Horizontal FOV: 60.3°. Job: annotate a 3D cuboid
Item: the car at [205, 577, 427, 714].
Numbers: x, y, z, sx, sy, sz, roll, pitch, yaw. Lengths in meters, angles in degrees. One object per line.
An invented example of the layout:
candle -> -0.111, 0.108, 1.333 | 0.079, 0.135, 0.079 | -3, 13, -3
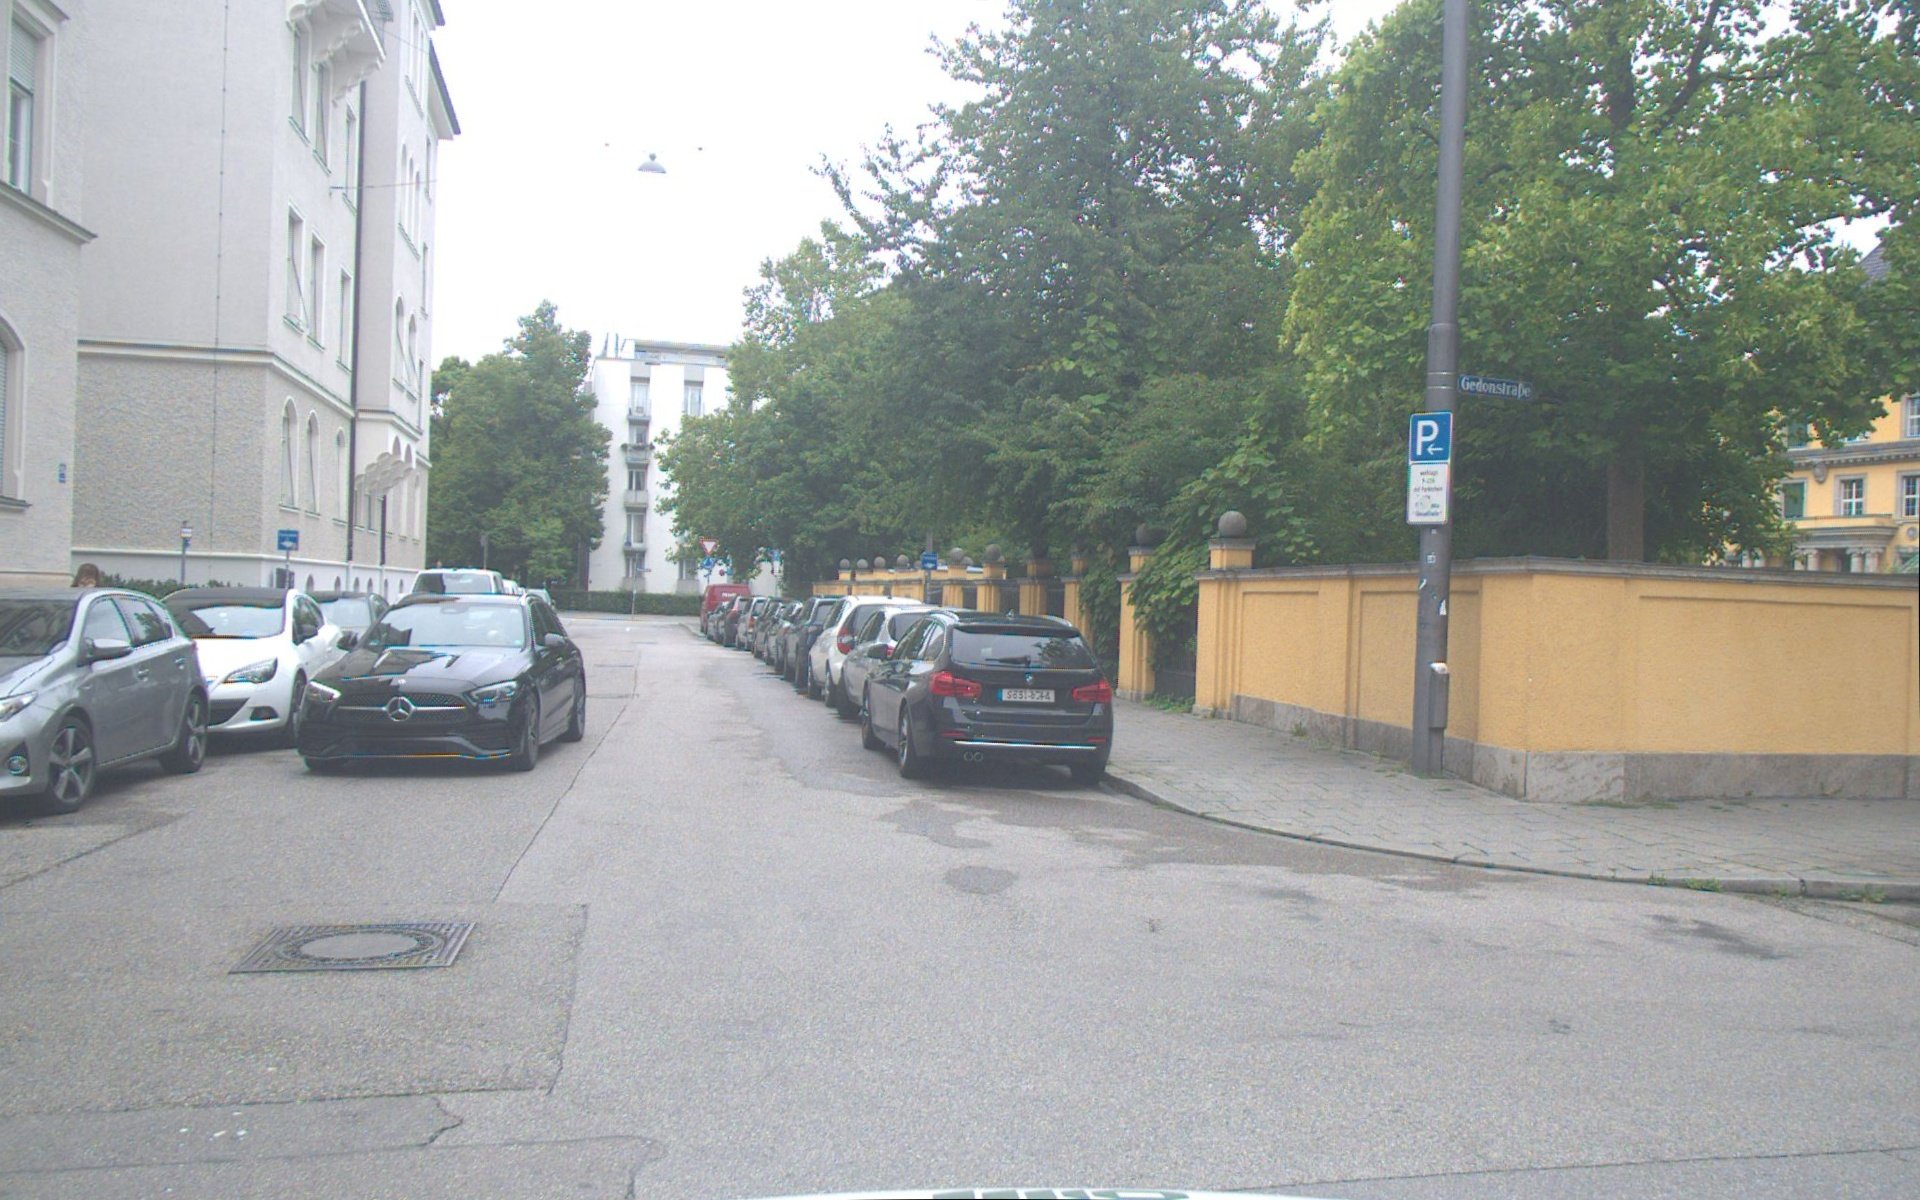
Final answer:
car -> -8.086, 0.490, 21.147 | 1.803, 1.526, 4.264 | -1, 1, -10

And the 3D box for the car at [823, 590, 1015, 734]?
car -> -0.600, 0.699, 20.355 | 1.624, 1.545, 3.783 | 3, -1, -12

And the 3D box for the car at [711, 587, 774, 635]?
car -> -7.666, 0.377, 57.926 | 1.806, 1.545, 3.935 | 3, -1, -12

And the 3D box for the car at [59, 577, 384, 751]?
car -> -7.116, 0.518, 16.434 | 1.802, 1.463, 4.267 | -1, 1, -8

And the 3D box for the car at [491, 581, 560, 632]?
car -> -15.130, 0.185, 57.753 | 1.979, 1.662, 4.402 | -1, 1, -11

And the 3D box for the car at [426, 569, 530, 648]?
car -> -11.756, 0.168, 40.583 | 1.979, 1.802, 4.402 | -1, 1, -11

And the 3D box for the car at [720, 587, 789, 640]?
car -> -6.636, 0.424, 53.179 | 1.806, 1.545, 3.935 | 3, -1, -12

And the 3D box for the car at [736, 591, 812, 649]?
car -> -5.578, 0.574, 49.173 | 1.806, 1.545, 3.935 | 3, -1, -12

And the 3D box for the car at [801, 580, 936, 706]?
car -> -1.445, 0.607, 24.999 | 1.487, 1.690, 3.664 | 3, -1, -11

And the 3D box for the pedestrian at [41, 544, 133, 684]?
pedestrian -> -11.009, 0.176, 20.872 | 0.777, 1.708, 0.699 | 2, 0, -9

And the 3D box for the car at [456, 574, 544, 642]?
car -> -12.809, 0.183, 46.280 | 1.979, 1.756, 4.264 | -1, 1, -11

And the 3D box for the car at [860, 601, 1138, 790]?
car -> 0.195, 0.777, 15.394 | 1.804, 1.438, 4.333 | 3, -1, -9

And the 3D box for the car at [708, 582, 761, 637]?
car -> -8.801, 0.328, 64.810 | 1.802, 1.960, 3.999 | 4, 0, -7

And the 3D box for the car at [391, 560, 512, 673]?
car -> -10.570, 0.283, 34.653 | 1.852, 2.165, 4.694 | -1, 1, -11

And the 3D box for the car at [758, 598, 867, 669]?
car -> -3.235, 0.688, 35.578 | 1.806, 1.369, 3.935 | 3, -1, -12

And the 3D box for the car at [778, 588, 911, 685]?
car -> -2.168, 0.628, 30.132 | 1.806, 1.578, 3.935 | 3, -1, -12

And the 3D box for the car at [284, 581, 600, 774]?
car -> -4.425, 0.576, 14.835 | 1.838, 1.453, 4.404 | 1, 1, -6

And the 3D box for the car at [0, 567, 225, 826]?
car -> -6.630, 0.565, 11.564 | 1.693, 1.526, 3.923 | 0, 0, -8

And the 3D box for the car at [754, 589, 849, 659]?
car -> -3.929, 0.557, 40.449 | 1.806, 1.545, 3.935 | 3, -1, -12
